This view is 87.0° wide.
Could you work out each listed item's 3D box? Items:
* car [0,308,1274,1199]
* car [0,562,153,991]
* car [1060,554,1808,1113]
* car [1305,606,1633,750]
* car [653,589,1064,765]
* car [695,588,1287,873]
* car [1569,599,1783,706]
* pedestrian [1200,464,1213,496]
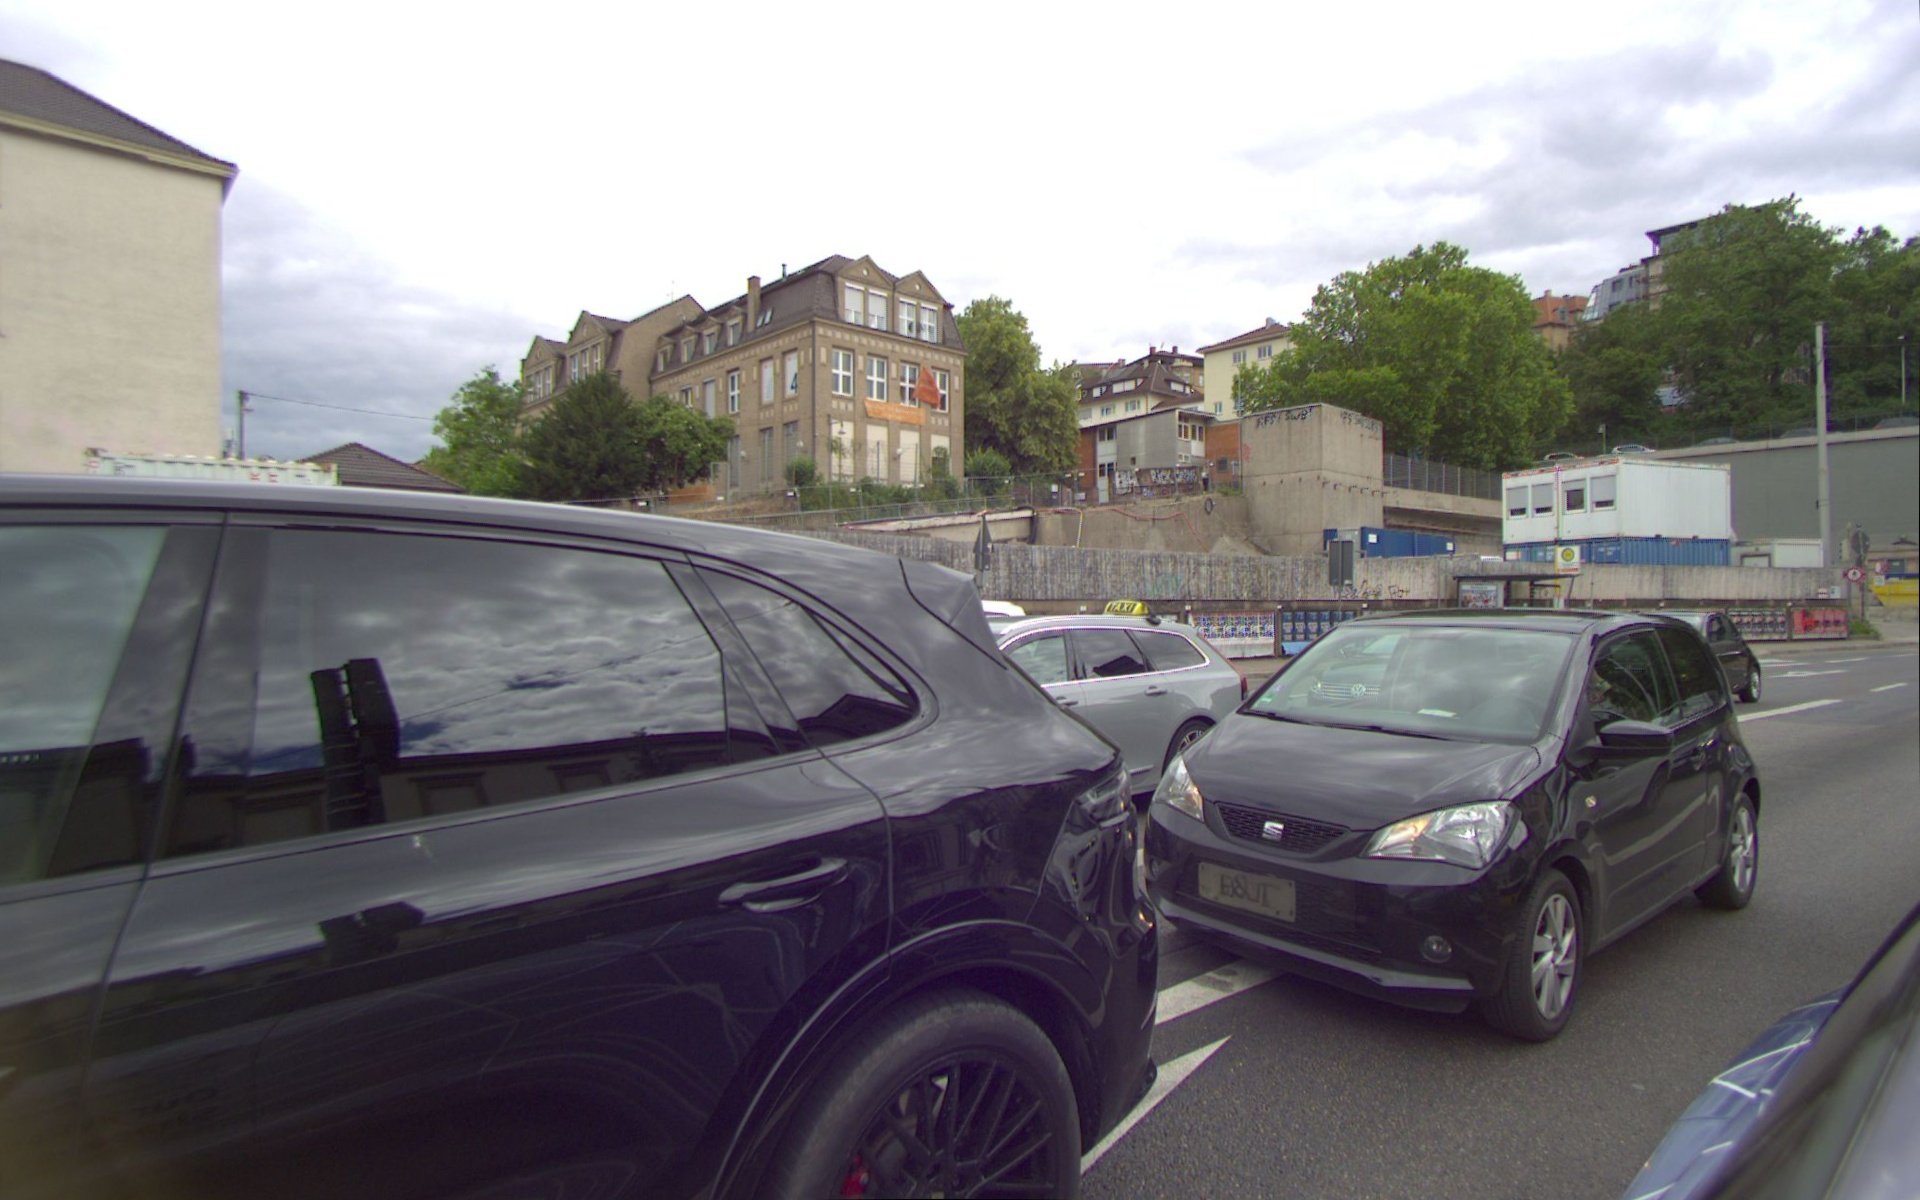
[{"bbox_3d":[-1.650,0.559,1.670,4.497,1.689,1.998,-1,0,-39],"label":"car"},{"bbox_3d":[-5.055,0.640,3.460,3.581,1.529,1.826,-1,0,-39],"label":"car"},{"bbox_3d":[2.419,0.635,4.722,3.841,1.575,1.661,-1,0,-39],"label":"car"},{"bbox_3d":[6.031,0.773,11.809,4.139,1.381,1.827,1,0,-38],"label":"car"},{"bbox_3d":[-0.932,0.637,10.606,4.004,1.484,1.824,-1,0,-42],"label":"car"},{"bbox_3d":[0.407,0.661,7.343,4.142,1.484,1.825,-1,0,-40],"label":"car"},{"bbox_3d":[11.297,0.757,15.907,3.711,1.478,1.721,1,-2,-38],"label":"car"},{"bbox_3d":[14.890,-7.244,61.155,0.559,1.817,0.554,0,0,-39],"label":"pedestrian"}]
